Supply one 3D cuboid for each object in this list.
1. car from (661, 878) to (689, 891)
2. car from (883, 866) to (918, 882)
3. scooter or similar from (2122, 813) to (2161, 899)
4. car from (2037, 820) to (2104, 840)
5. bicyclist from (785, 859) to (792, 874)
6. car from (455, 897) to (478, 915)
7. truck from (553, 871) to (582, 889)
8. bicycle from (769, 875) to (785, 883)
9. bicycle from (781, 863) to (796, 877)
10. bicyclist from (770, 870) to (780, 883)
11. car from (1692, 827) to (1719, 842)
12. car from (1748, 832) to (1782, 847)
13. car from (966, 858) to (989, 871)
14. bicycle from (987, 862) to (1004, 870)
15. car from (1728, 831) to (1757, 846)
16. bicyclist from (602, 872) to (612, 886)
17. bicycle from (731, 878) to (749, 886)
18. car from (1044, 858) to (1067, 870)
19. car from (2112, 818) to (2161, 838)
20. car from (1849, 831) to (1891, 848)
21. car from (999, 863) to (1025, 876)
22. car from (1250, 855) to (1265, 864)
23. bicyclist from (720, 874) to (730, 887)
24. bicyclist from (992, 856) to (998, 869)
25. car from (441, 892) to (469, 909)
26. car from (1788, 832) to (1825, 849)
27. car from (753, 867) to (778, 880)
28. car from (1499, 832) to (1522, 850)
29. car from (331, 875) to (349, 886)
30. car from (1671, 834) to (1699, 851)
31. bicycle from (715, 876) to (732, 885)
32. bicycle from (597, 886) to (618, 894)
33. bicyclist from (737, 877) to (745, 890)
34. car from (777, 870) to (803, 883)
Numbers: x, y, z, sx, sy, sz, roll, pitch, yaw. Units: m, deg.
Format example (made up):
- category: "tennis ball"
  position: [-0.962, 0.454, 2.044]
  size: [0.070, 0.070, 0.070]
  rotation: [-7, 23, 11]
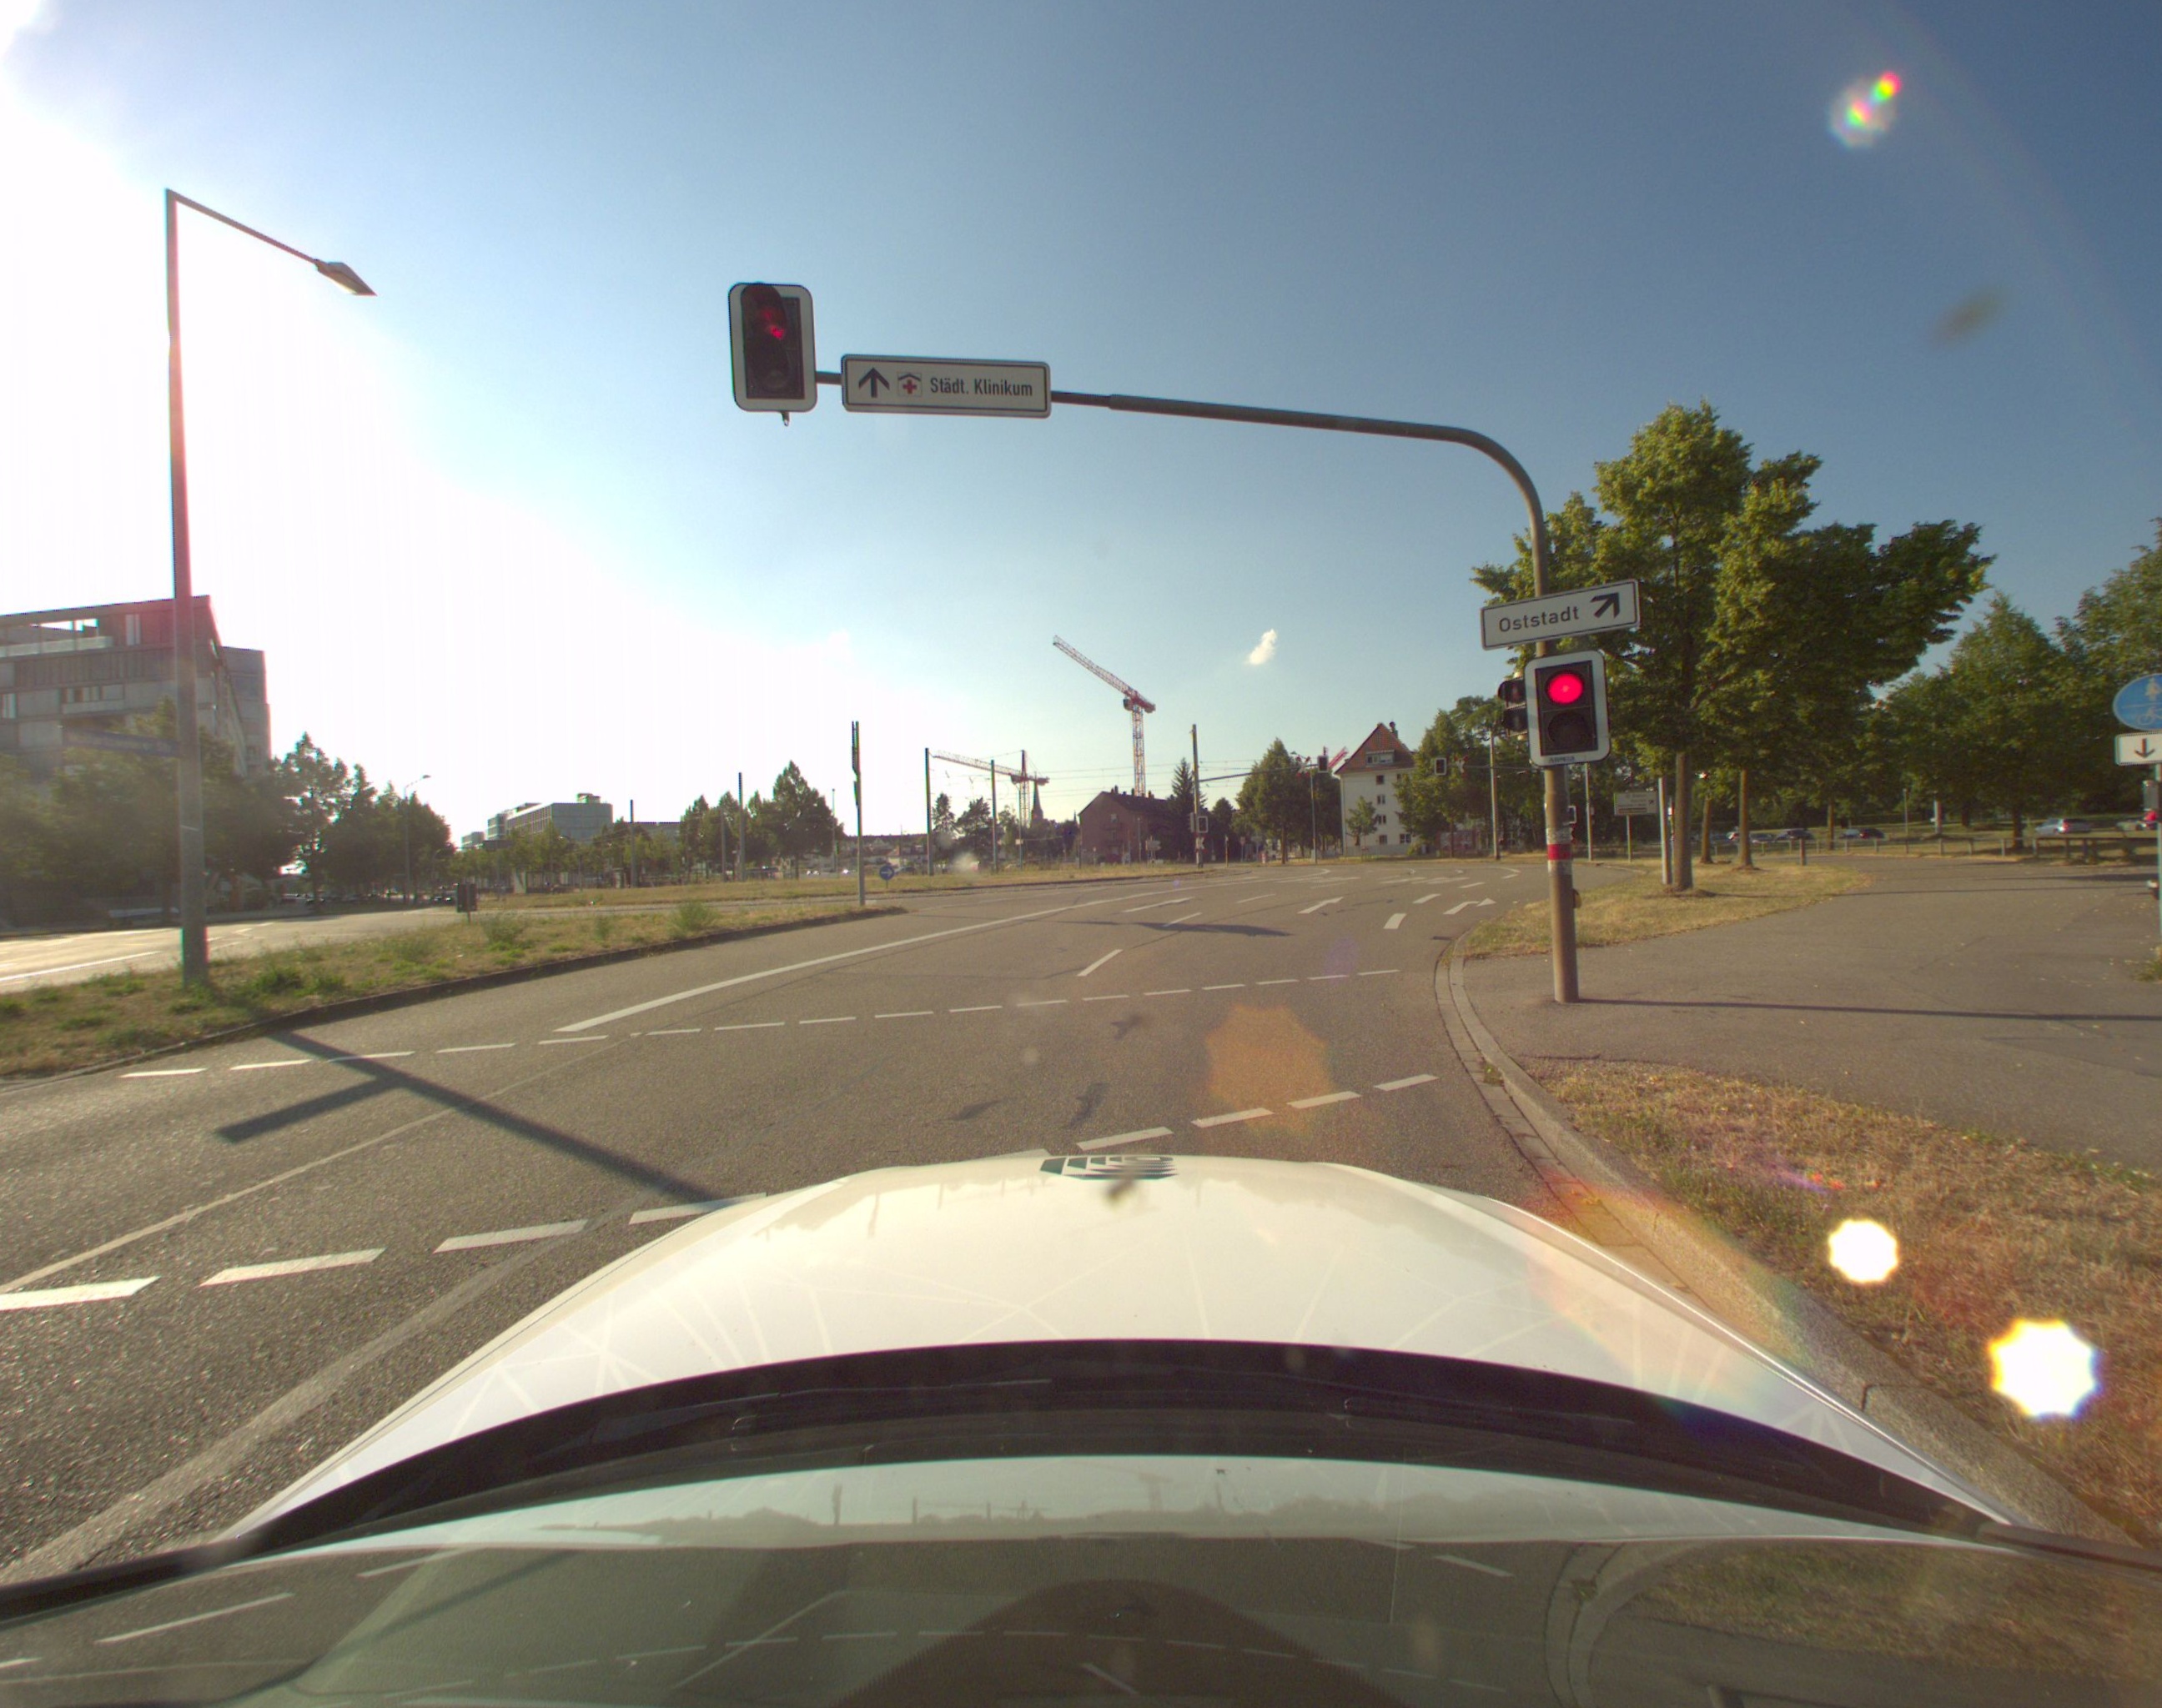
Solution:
- category: "car"
  position: [-44.442, 3.284, 89.126]
  size: [2.681, 1.261, 1.104]
  rotation: [-2, 0, -27]
- category: "car"
  position: [-23.453, 2.593, 105.767]
  size: [4.013, 1.816, 1.981]
  rotation: [-2, 0, -30]
- category: "scooter or similar"
  position: [15.462, 0.007, 11.632]
  size: [1.172, 1.160, 0.340]
  rotation: [-4, -3, -23]
- category: "car"
  position: [78.303, -1.865, 64.517]
  size: [1.804, 1.403, 4.023]
  rotation: [-3, -1, 26]
- category: "bicyclist"
  position: [-33.405, 1.390, 93.027]
  size: [0.610, 1.672, 0.473]
  rotation: [-2, -1, -28]
- category: "car"
  position: [-58.533, 4.945, 77.586]
  size: [1.493, 1.475, 3.260]
  rotation: [-2, 0, -42]
- category: "truck"
  position: [-97.265, 4.986, 154.273]
  size: [3.156, 3.231, 7.085]
  rotation: [-2, 0, -44]
- category: "bicycle"
  position: [-33.784, 2.758, 90.538]
  size: [1.622, 0.860, 0.541]
  rotation: [-2, 0, -24]
- category: "bicycle"
  position: [-33.407, 1.812, 92.994]
  size: [1.548, 1.473, 0.475]
  rotation: [-2, 0, -28]
- category: "bicyclist"
  position: [-33.970, 2.509, 90.502]
  size: [0.958, 1.357, 0.688]
  rotation: [-2, 0, -25]
- category: "car"
  position: [64.335, -1.997, 83.937]
  size: [1.586, 1.402, 3.993]
  rotation: [-3, -1, 30]
- category: "car"
  position: [61.200, -1.271, 72.893]
  size: [1.586, 1.221, 3.993]
  rotation: [-3, -1, 30]
- category: "car"
  position: [-14.832, 1.521, 116.563]
  size: [1.930, 1.854, 3.965]
  rotation: [-2, 0, -26]
- category: "bicycle"
  position: [-10.165, 1.420, 96.486]
  size: [1.983, 0.918, 0.429]
  rotation: [-2, 0, -4]
- category: "car"
  position: [67.203, -1.554, 82.765]
  size: [1.586, 1.402, 3.993]
  rotation: [-3, -1, 30]
- category: "bicyclist"
  position: [-47.159, 2.461, 81.042]
  size: [0.658, 1.325, 0.512]
  rotation: [-2, 0, -45]
- category: "bicycle"
  position: [-37.500, 3.063, 89.538]
  size: [0.474, 0.744, 1.732]
  rotation: [-3, 0, 45]
- category: "car"
  position: [-4.645, 1.897, 150.001]
  size: [3.776, 2.014, 1.680]
  rotation: [-3, -1, 20]
- category: "car"
  position: [82.744, -2.027, 63.177]
  size: [1.804, 1.403, 4.023]
  rotation: [-3, -1, 26]
- category: "car"
  position: [67.098, -1.220, 69.328]
  size: [1.586, 1.310, 3.993]
  rotation: [-3, -1, 30]
- category: "car"
  position: [-11.248, 2.583, 133.118]
  size: [3.776, 2.014, 1.680]
  rotation: [-3, -1, 20]
- category: "car"
  position: [28.206, 0.851, 130.050]
  size: [1.441, 1.300, 3.570]
  rotation: [-3, 0, 28]
- category: "bicyclist"
  position: [-39.224, 2.883, 89.712]
  size: [0.958, 1.357, 0.688]
  rotation: [-2, 0, -25]
- category: "bicyclist"
  position: [-10.228, 0.969, 96.481]
  size: [0.621, 1.511, 0.418]
  rotation: [-2, 0, -4]
- category: "car"
  position: [-63.688, 4.718, 82.834]
  size: [2.011, 1.475, 3.952]
  rotation: [-2, 0, -42]
- category: "car"
  position: [63.438, -1.164, 71.250]
  size: [1.586, 1.402, 3.993]
  rotation: [-3, -1, 30]
- category: "car"
  position: [-53.160, 3.253, 137.260]
  size: [3.948, 2.013, 2.013]
  rotation: [-3, 0, 36]
- category: "car"
  position: [42.898, -1.266, 81.272]
  size: [1.754, 1.618, 3.993]
  rotation: [-3, -1, 30]
- category: "car"
  position: [-110.538, 3.919, 121.448]
  size: [1.800, 1.556, 3.950]
  rotation: [0, -1, -45]
- category: "car"
  position: [56.103, -1.060, 75.659]
  size: [1.586, 1.402, 3.993]
  rotation: [-3, -1, 30]
- category: "bicycle"
  position: [-39.329, 2.900, 89.627]
  size: [1.622, 0.860, 0.541]
  rotation: [-2, 0, -24]
- category: "bicycle"
  position: [-47.096, 3.579, 81.020]
  size: [0.474, 0.744, 1.732]
  rotation: [-3, 0, 45]
- category: "bicyclist"
  position: [-37.404, 3.232, 89.599]
  size: [0.512, 1.325, 0.658]
  rotation: [-3, 0, 45]
- category: "car"
  position: [-47.115, 3.689, 132.020]
  size: [3.948, 2.013, 2.013]
  rotation: [-3, 0, 36]
